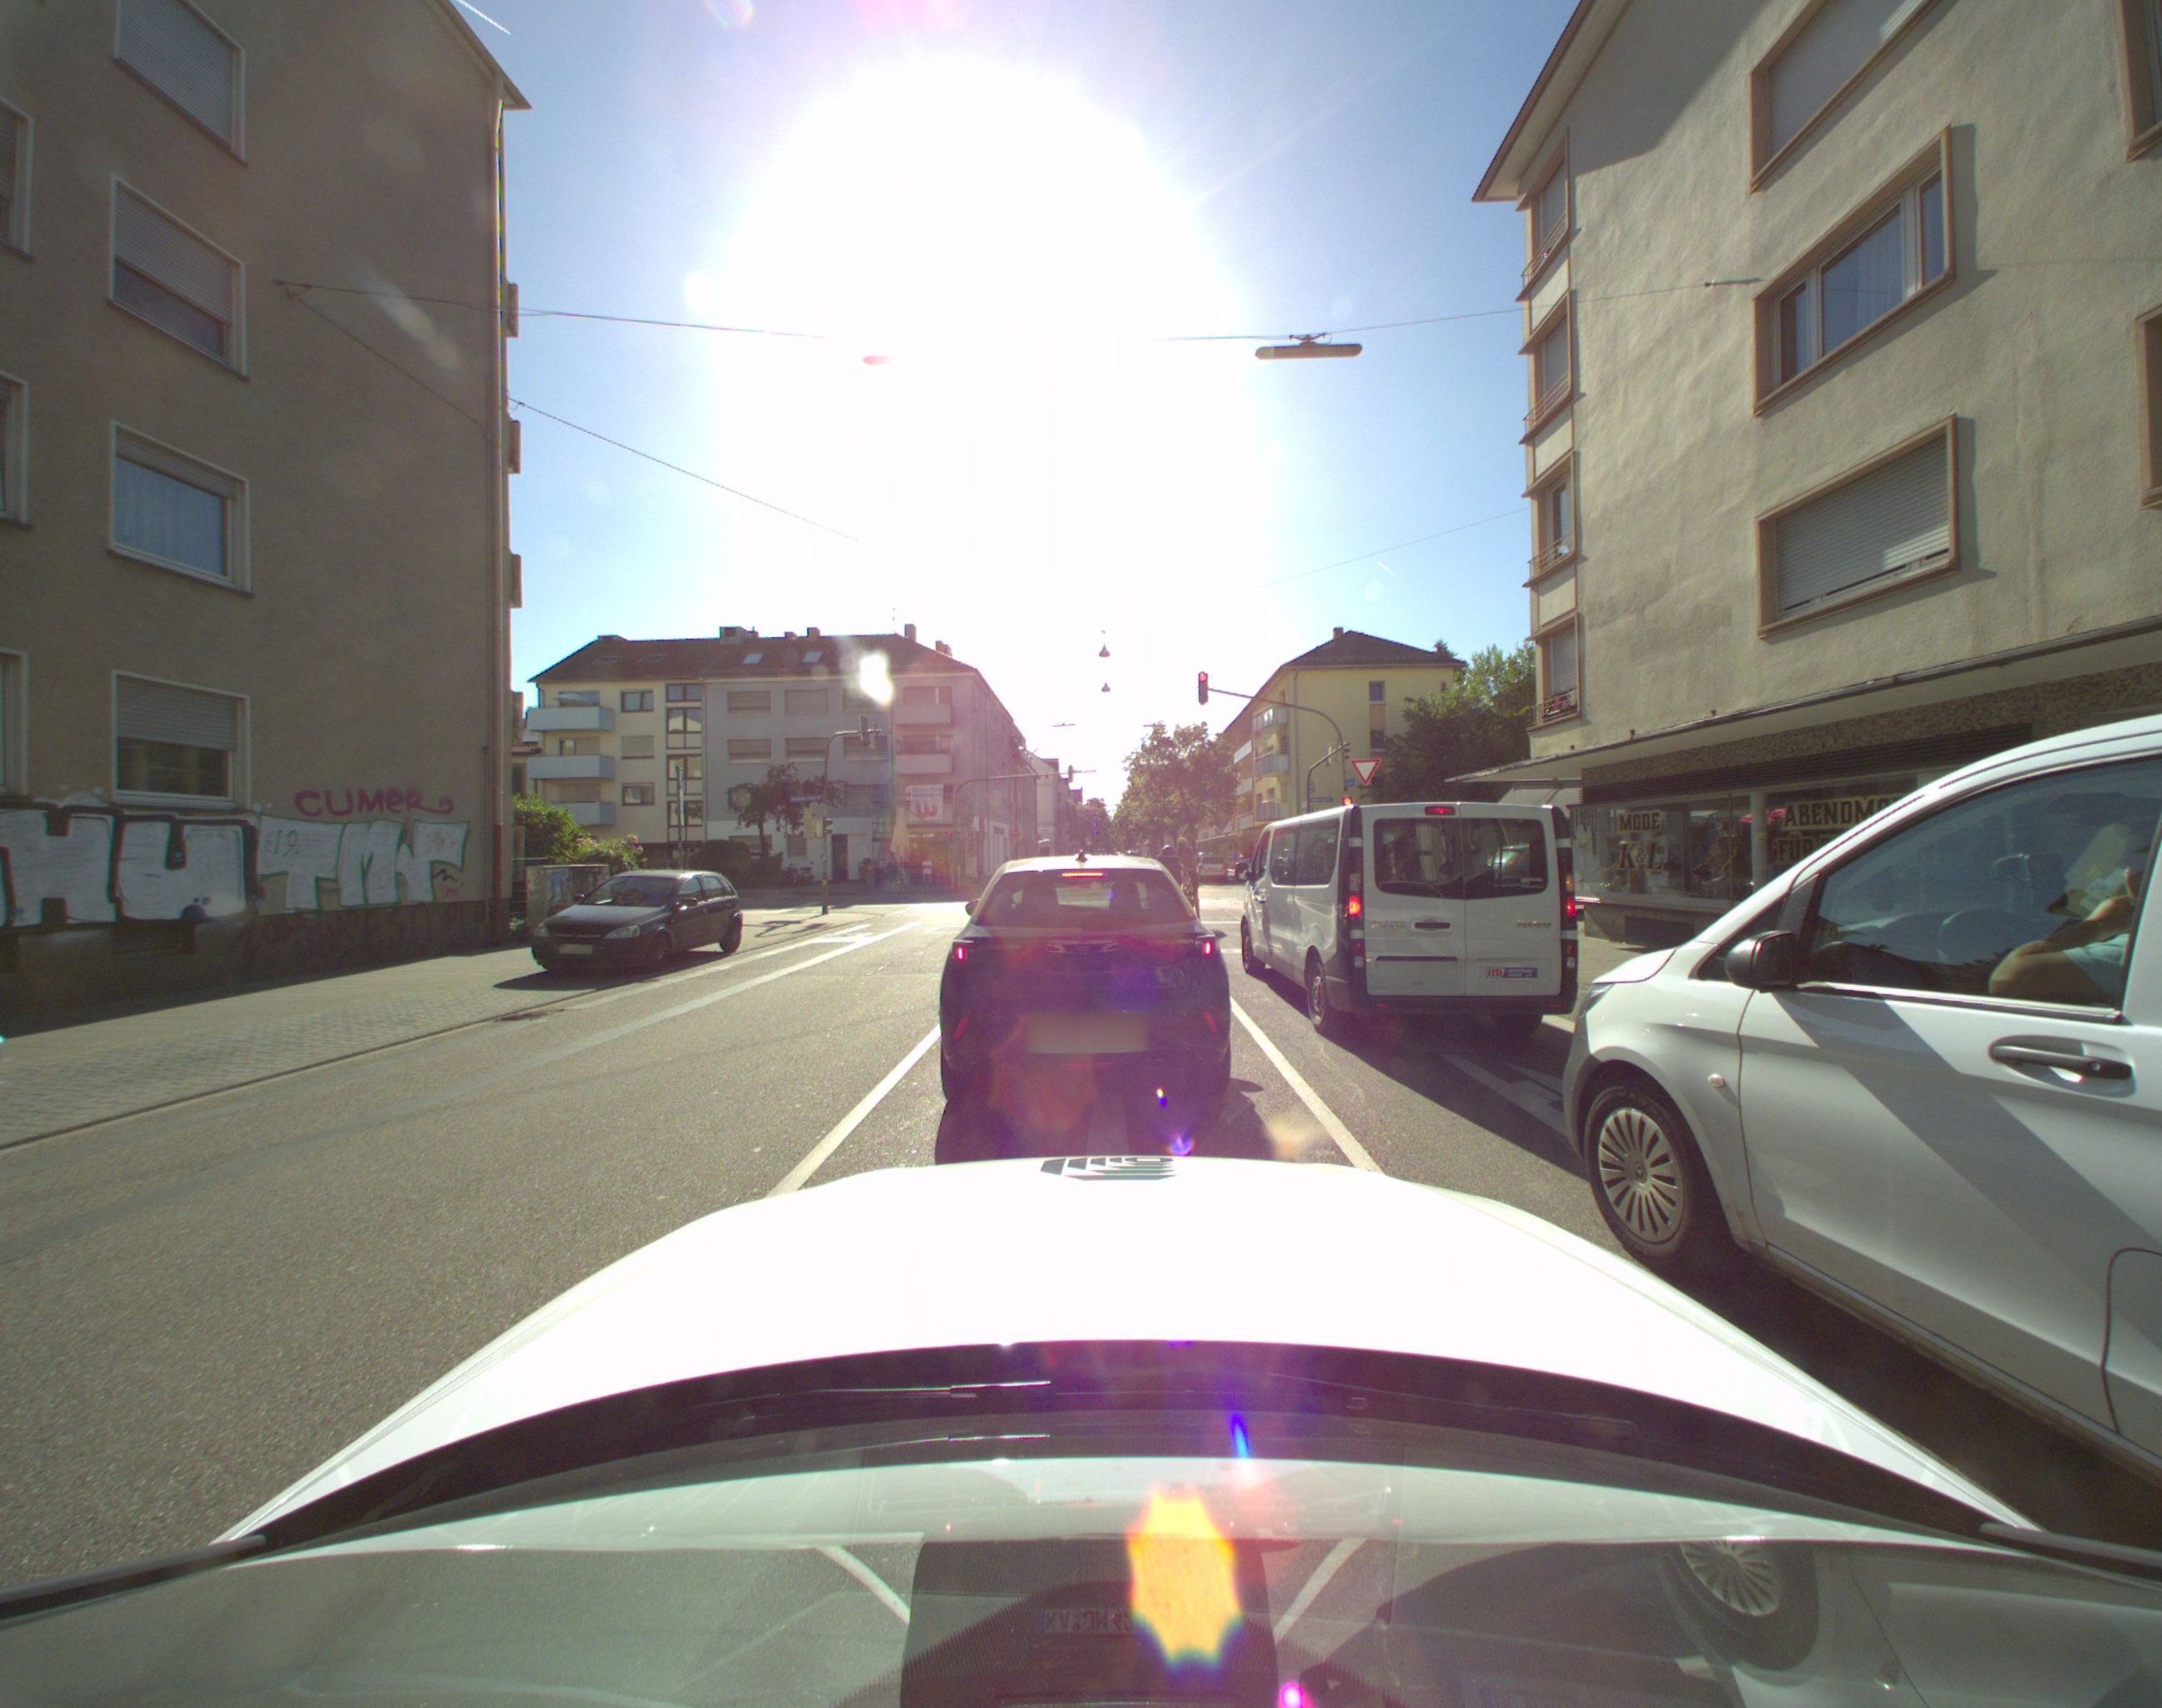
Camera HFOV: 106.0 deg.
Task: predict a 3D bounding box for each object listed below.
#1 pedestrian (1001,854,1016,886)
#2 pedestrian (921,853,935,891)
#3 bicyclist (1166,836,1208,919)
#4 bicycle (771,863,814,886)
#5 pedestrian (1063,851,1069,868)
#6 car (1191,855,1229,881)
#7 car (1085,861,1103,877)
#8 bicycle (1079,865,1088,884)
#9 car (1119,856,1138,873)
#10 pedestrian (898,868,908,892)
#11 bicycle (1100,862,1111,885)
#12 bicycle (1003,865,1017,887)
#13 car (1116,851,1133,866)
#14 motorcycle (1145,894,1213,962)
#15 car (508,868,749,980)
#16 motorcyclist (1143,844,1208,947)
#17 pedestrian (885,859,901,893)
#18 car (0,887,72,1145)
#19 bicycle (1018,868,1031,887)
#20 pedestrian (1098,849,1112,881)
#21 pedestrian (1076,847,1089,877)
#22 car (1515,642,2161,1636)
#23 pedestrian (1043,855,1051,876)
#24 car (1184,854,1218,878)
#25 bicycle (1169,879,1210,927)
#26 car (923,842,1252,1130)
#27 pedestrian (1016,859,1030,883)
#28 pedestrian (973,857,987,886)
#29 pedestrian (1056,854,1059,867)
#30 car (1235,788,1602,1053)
[{"bbox_3d":[-3.890,0.859,43.932,0.704,1.678,0.802,-1,0,0],"label":"pedestrian"},{"bbox_3d":[-7.216,0.838,38.372,0.560,1.775,0.582,-1,0,-7],"label":"pedestrian"},{"bbox_3d":[2.276,0.482,17.620,0.687,1.712,1.414,-1,0,0],"label":"bicyclist"},{"bbox_3d":[-15.336,1.072,43.243,2.103,1.172,0.735,-1,0,-22],"label":"bicycle"},{"bbox_3d":[-1.543,0.553,82.924,0.486,1.690,0.588,-1,0,1],"label":"pedestrian"},{"bbox_3d":[7.440,0.781,47.251,1.628,1.433,3.958,-1,0,2],"label":"car"},{"bbox_3d":[1.541,1.680,92.511,1.817,1.728,4.004,-1,0,3],"label":"car"},{"bbox_3d":[0.125,1.106,44.211,0.442,0.992,2.068,-1,0,0],"label":"bicycle"},{"bbox_3d":[4.992,1.066,86.288,1.894,1.728,4.076,-1,0,2],"label":"car"},{"bbox_3d":[-8.256,1.215,37.831,0.354,1.092,0.461,-1,0,-1],"label":"pedestrian"},{"bbox_3d":[1.305,1.038,43.572,0.520,1.147,2.170,-1,0,0],"label":"bicycle"},{"bbox_3d":[-3.841,1.196,44.217,0.520,1.147,2.283,-1,0,0],"label":"bicycle"},{"bbox_3d":[5.087,0.526,96.131,1.894,1.728,4.003,-1,0,2],"label":"car"},{"bbox_3d":[1.438,1.072,12.266,0.822,0.845,1.885,-1,0,1],"label":"motorcycle"},{"bbox_3d":[-6.810,0.961,12.753,1.610,1.425,3.711,0,0,1],"label":"car"},{"bbox_3d":[1.438,0.606,12.550,0.861,1.502,1.160,-1,0,1],"label":"motorcyclist"},{"bbox_3d":[-8.737,1.017,37.789,0.582,1.521,0.649,-1,0,-1],"label":"pedestrian"},{"bbox_3d":[-7.136,0.925,2.598,1.711,1.465,4.817,1,0,1],"label":"car"},{"bbox_3d":[-3.061,1.262,44.091,0.520,0.992,2.339,-1,0,0],"label":"bicycle"},{"bbox_3d":[1.301,0.580,43.568,0.704,1.701,0.802,-1,0,0],"label":"pedestrian"},{"bbox_3d":[0.093,0.420,43.906,0.678,1.606,0.762,-1,0,0],"label":"pedestrian"},{"bbox_3d":[2.942,0.524,1.234,1.831,1.869,4.994,-1,0,-1],"label":"car"},{"bbox_3d":[-2.691,0.943,65.340,0.568,1.690,0.588,-1,0,1],"label":"pedestrian"},{"bbox_3d":[7.611,0.746,51.876,1.628,1.433,4.002,-1,0,2],"label":"car"},{"bbox_3d":[2.337,1.049,17.811,0.575,0.904,2.301,-1,0,0],"label":"bicycle"},{"bbox_3d":[0.040,0.717,6.431,1.765,1.530,3.999,-1,0,0],"label":"car"},{"bbox_3d":[-3.119,0.915,43.781,0.704,1.253,0.802,-1,0,0],"label":"pedestrian"},{"bbox_3d":[-5.415,0.925,43.702,0.615,1.521,0.724,-1,0,-1],"label":"pedestrian"},{"bbox_3d":[-3.023,0.778,104.301,0.400,1.675,0.418,-1,0,1],"label":"pedestrian"},{"bbox_3d":[2.988,0.495,8.550,1.986,1.979,4.897,0,0,2],"label":"car"}]
